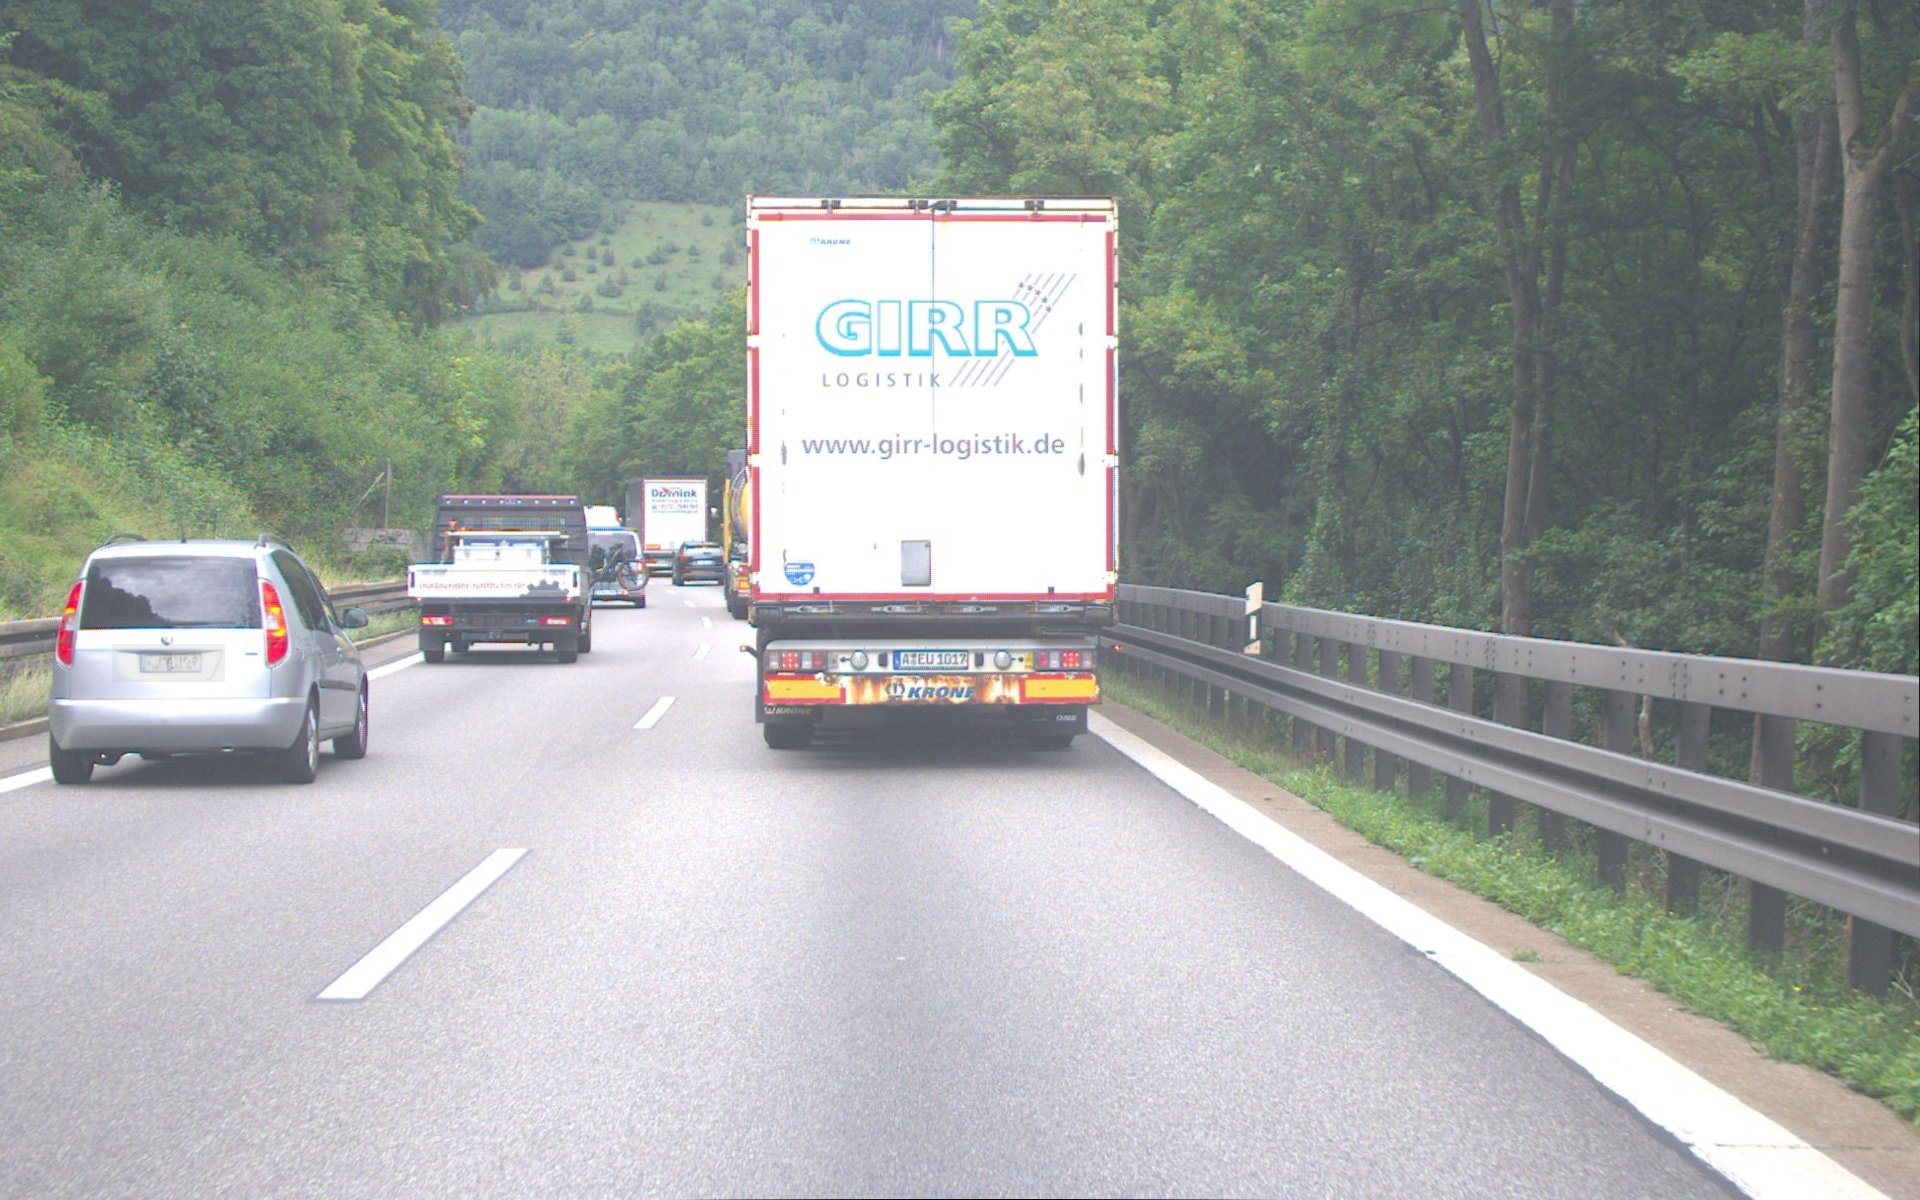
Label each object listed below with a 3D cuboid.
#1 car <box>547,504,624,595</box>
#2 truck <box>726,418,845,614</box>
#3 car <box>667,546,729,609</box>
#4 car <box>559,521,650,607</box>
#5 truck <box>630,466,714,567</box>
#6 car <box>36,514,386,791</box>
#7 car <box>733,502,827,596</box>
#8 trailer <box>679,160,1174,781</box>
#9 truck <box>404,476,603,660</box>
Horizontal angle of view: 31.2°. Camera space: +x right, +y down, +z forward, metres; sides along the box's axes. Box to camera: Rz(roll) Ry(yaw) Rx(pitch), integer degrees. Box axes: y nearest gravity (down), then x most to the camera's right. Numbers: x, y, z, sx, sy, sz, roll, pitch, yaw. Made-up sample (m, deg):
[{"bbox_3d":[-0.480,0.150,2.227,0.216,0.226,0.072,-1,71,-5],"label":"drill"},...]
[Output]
[{"bbox_3d":[-11.104,-1.507,102.210,2.123,2.589,5.564,1,1,-5],"label":"car"},{"bbox_3d":[-3.590,-1.687,71.369,2.233,3.791,6.824,2,0,-2],"label":"truck"},{"bbox_3d":[-8.821,-0.754,115.554,1.993,2.007,4.001,2,0,-5],"label":"car"},{"bbox_3d":[-8.476,-0.888,82.311,2.018,1.908,5.564,2,1,-5],"label":"car"},{"bbox_3d":[-11.728,-3.341,139.445,3.068,3.864,8.460,2,0,-6],"label":"truck"},{"bbox_3d":[-5.079,0.299,23.833,1.634,1.720,4.345,1,1,-2],"label":"car"},{"bbox_3d":[-4.104,-1.151,78.204,1.993,2.007,4.334,2,0,-3],"label":"car"},{"bbox_3d":[-0.507,-0.966,27.998,3.132,4.029,9.441,3,1,-4],"label":"trailer"},{"bbox_3d":[-6.162,-0.461,47.153,2.348,2.266,6.851,2,1,-5],"label":"truck"}]
